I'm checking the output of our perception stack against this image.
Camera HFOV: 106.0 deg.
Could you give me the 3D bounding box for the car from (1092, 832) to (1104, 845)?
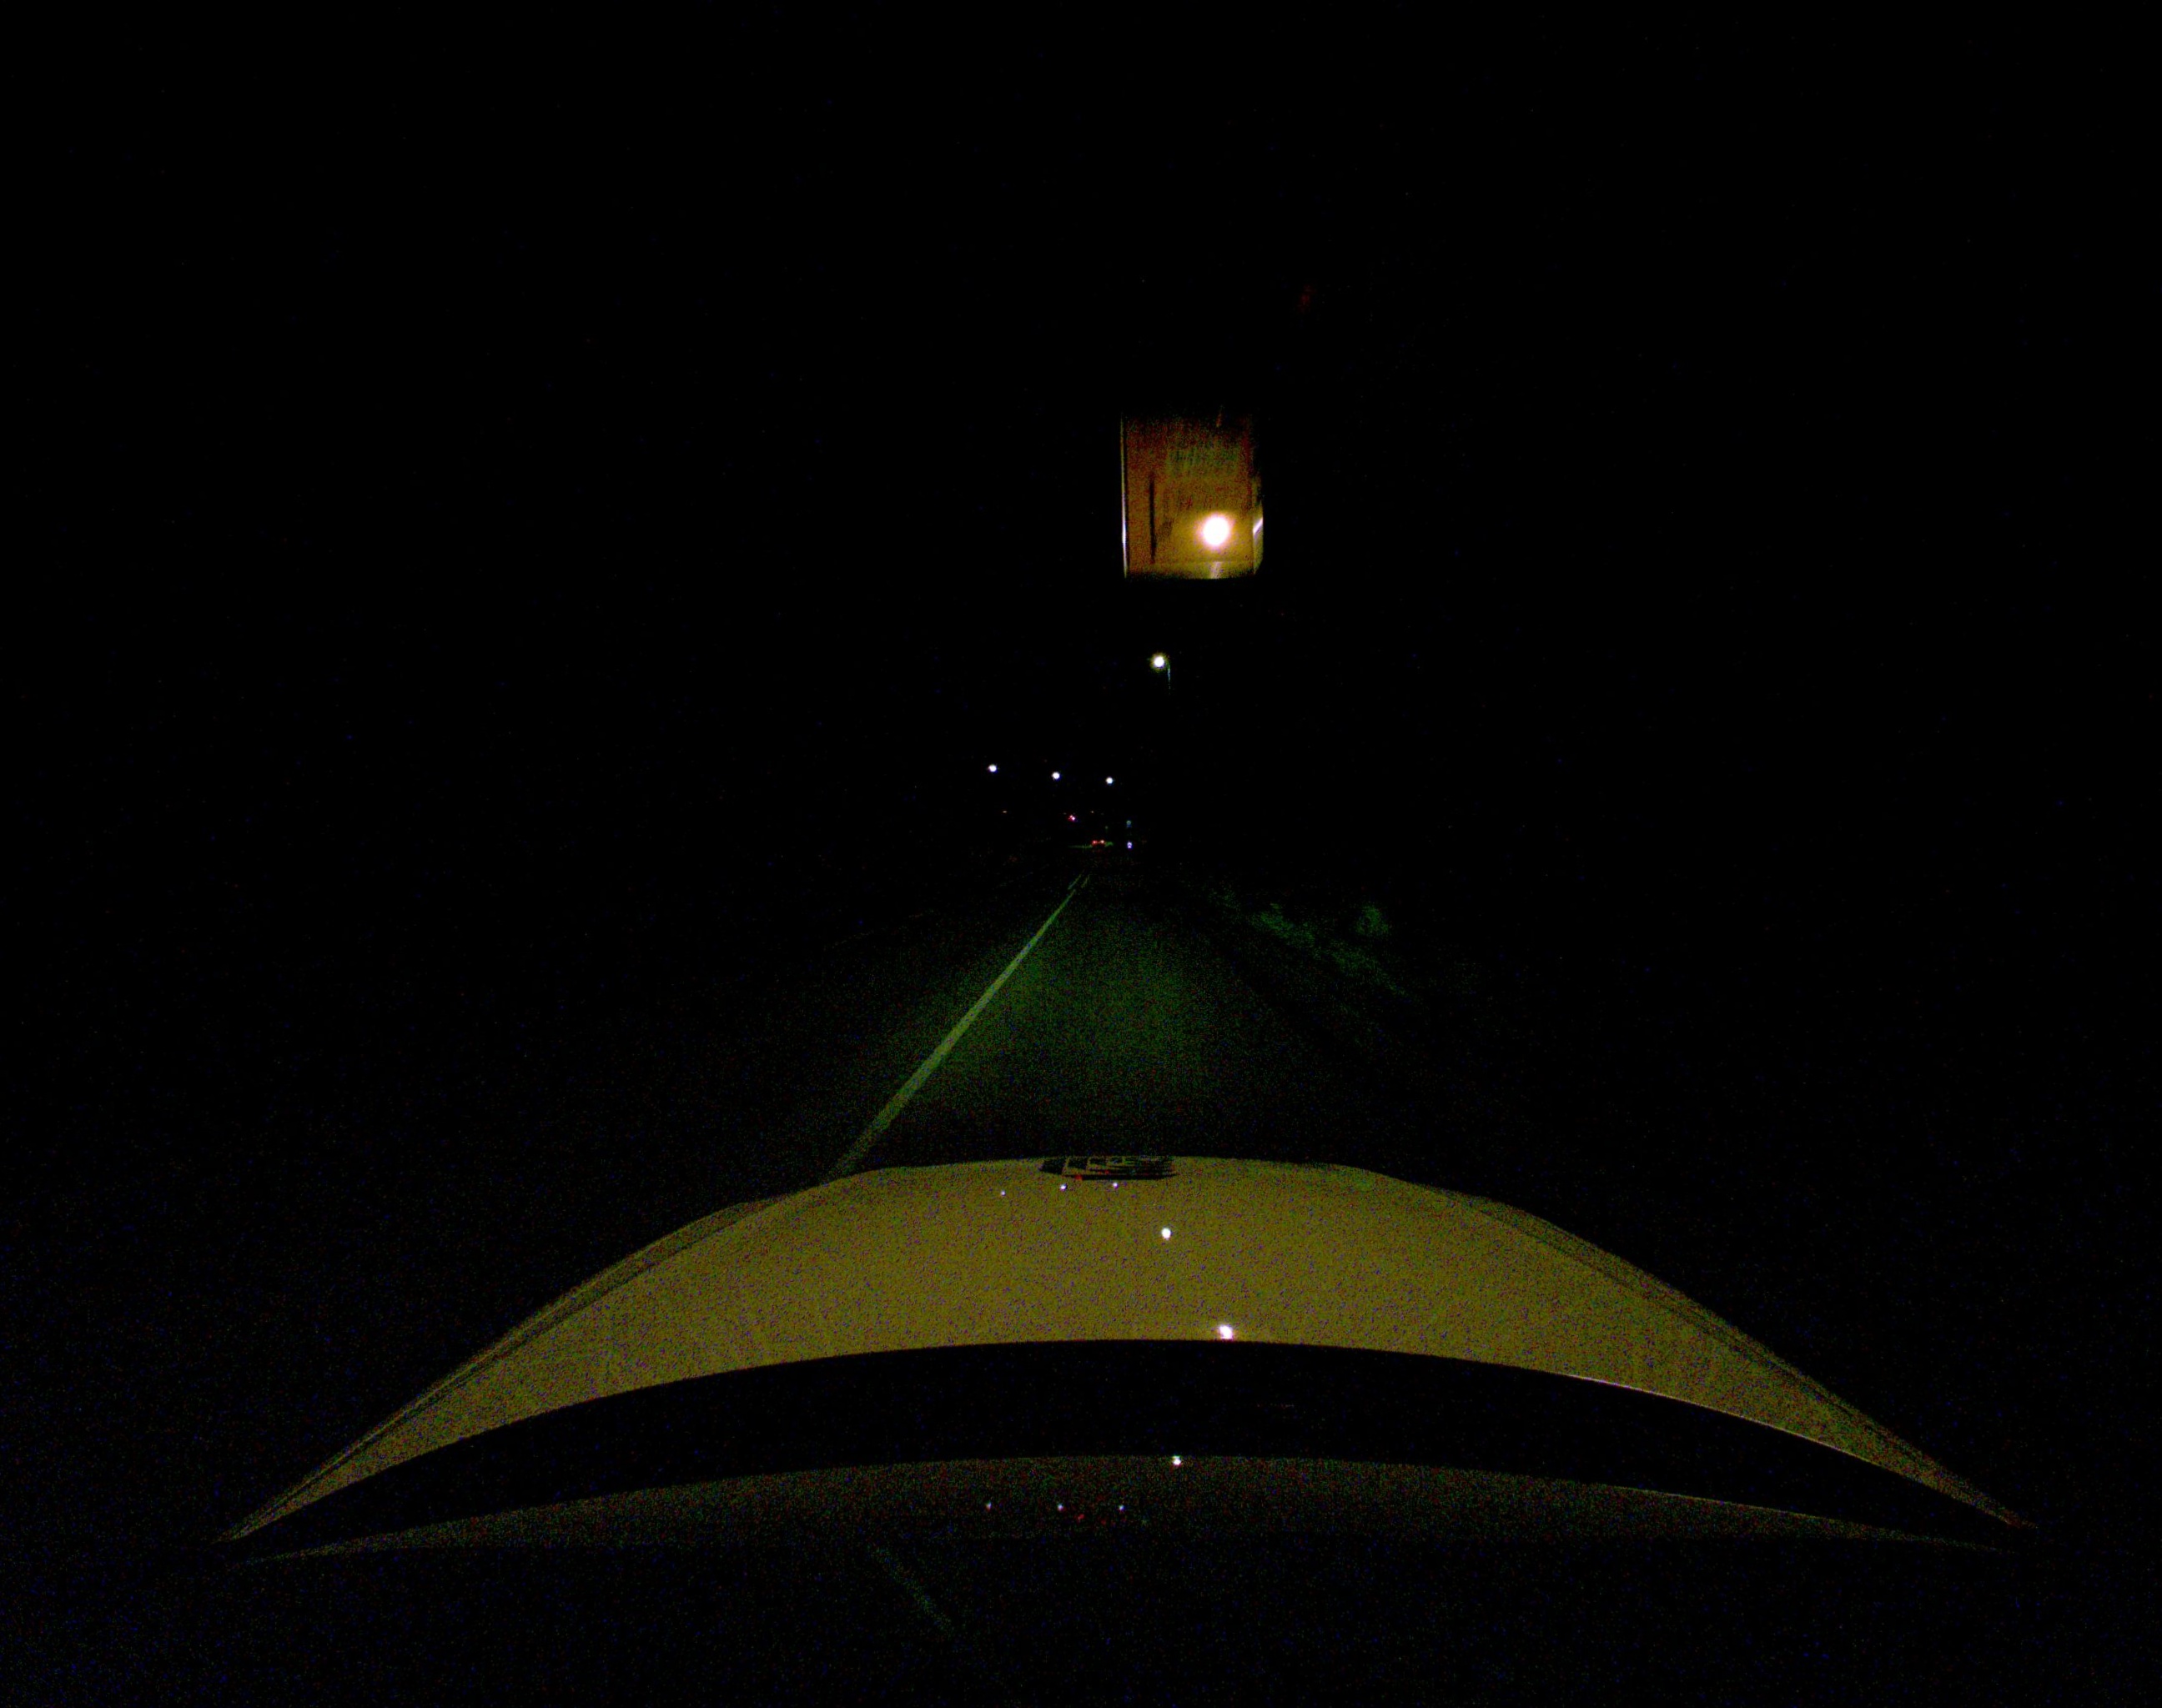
[{"bbox_3d":[2.861,-2.606,137.063,1.911,2.014,4.124,1,0,2],"label":"car"}]
